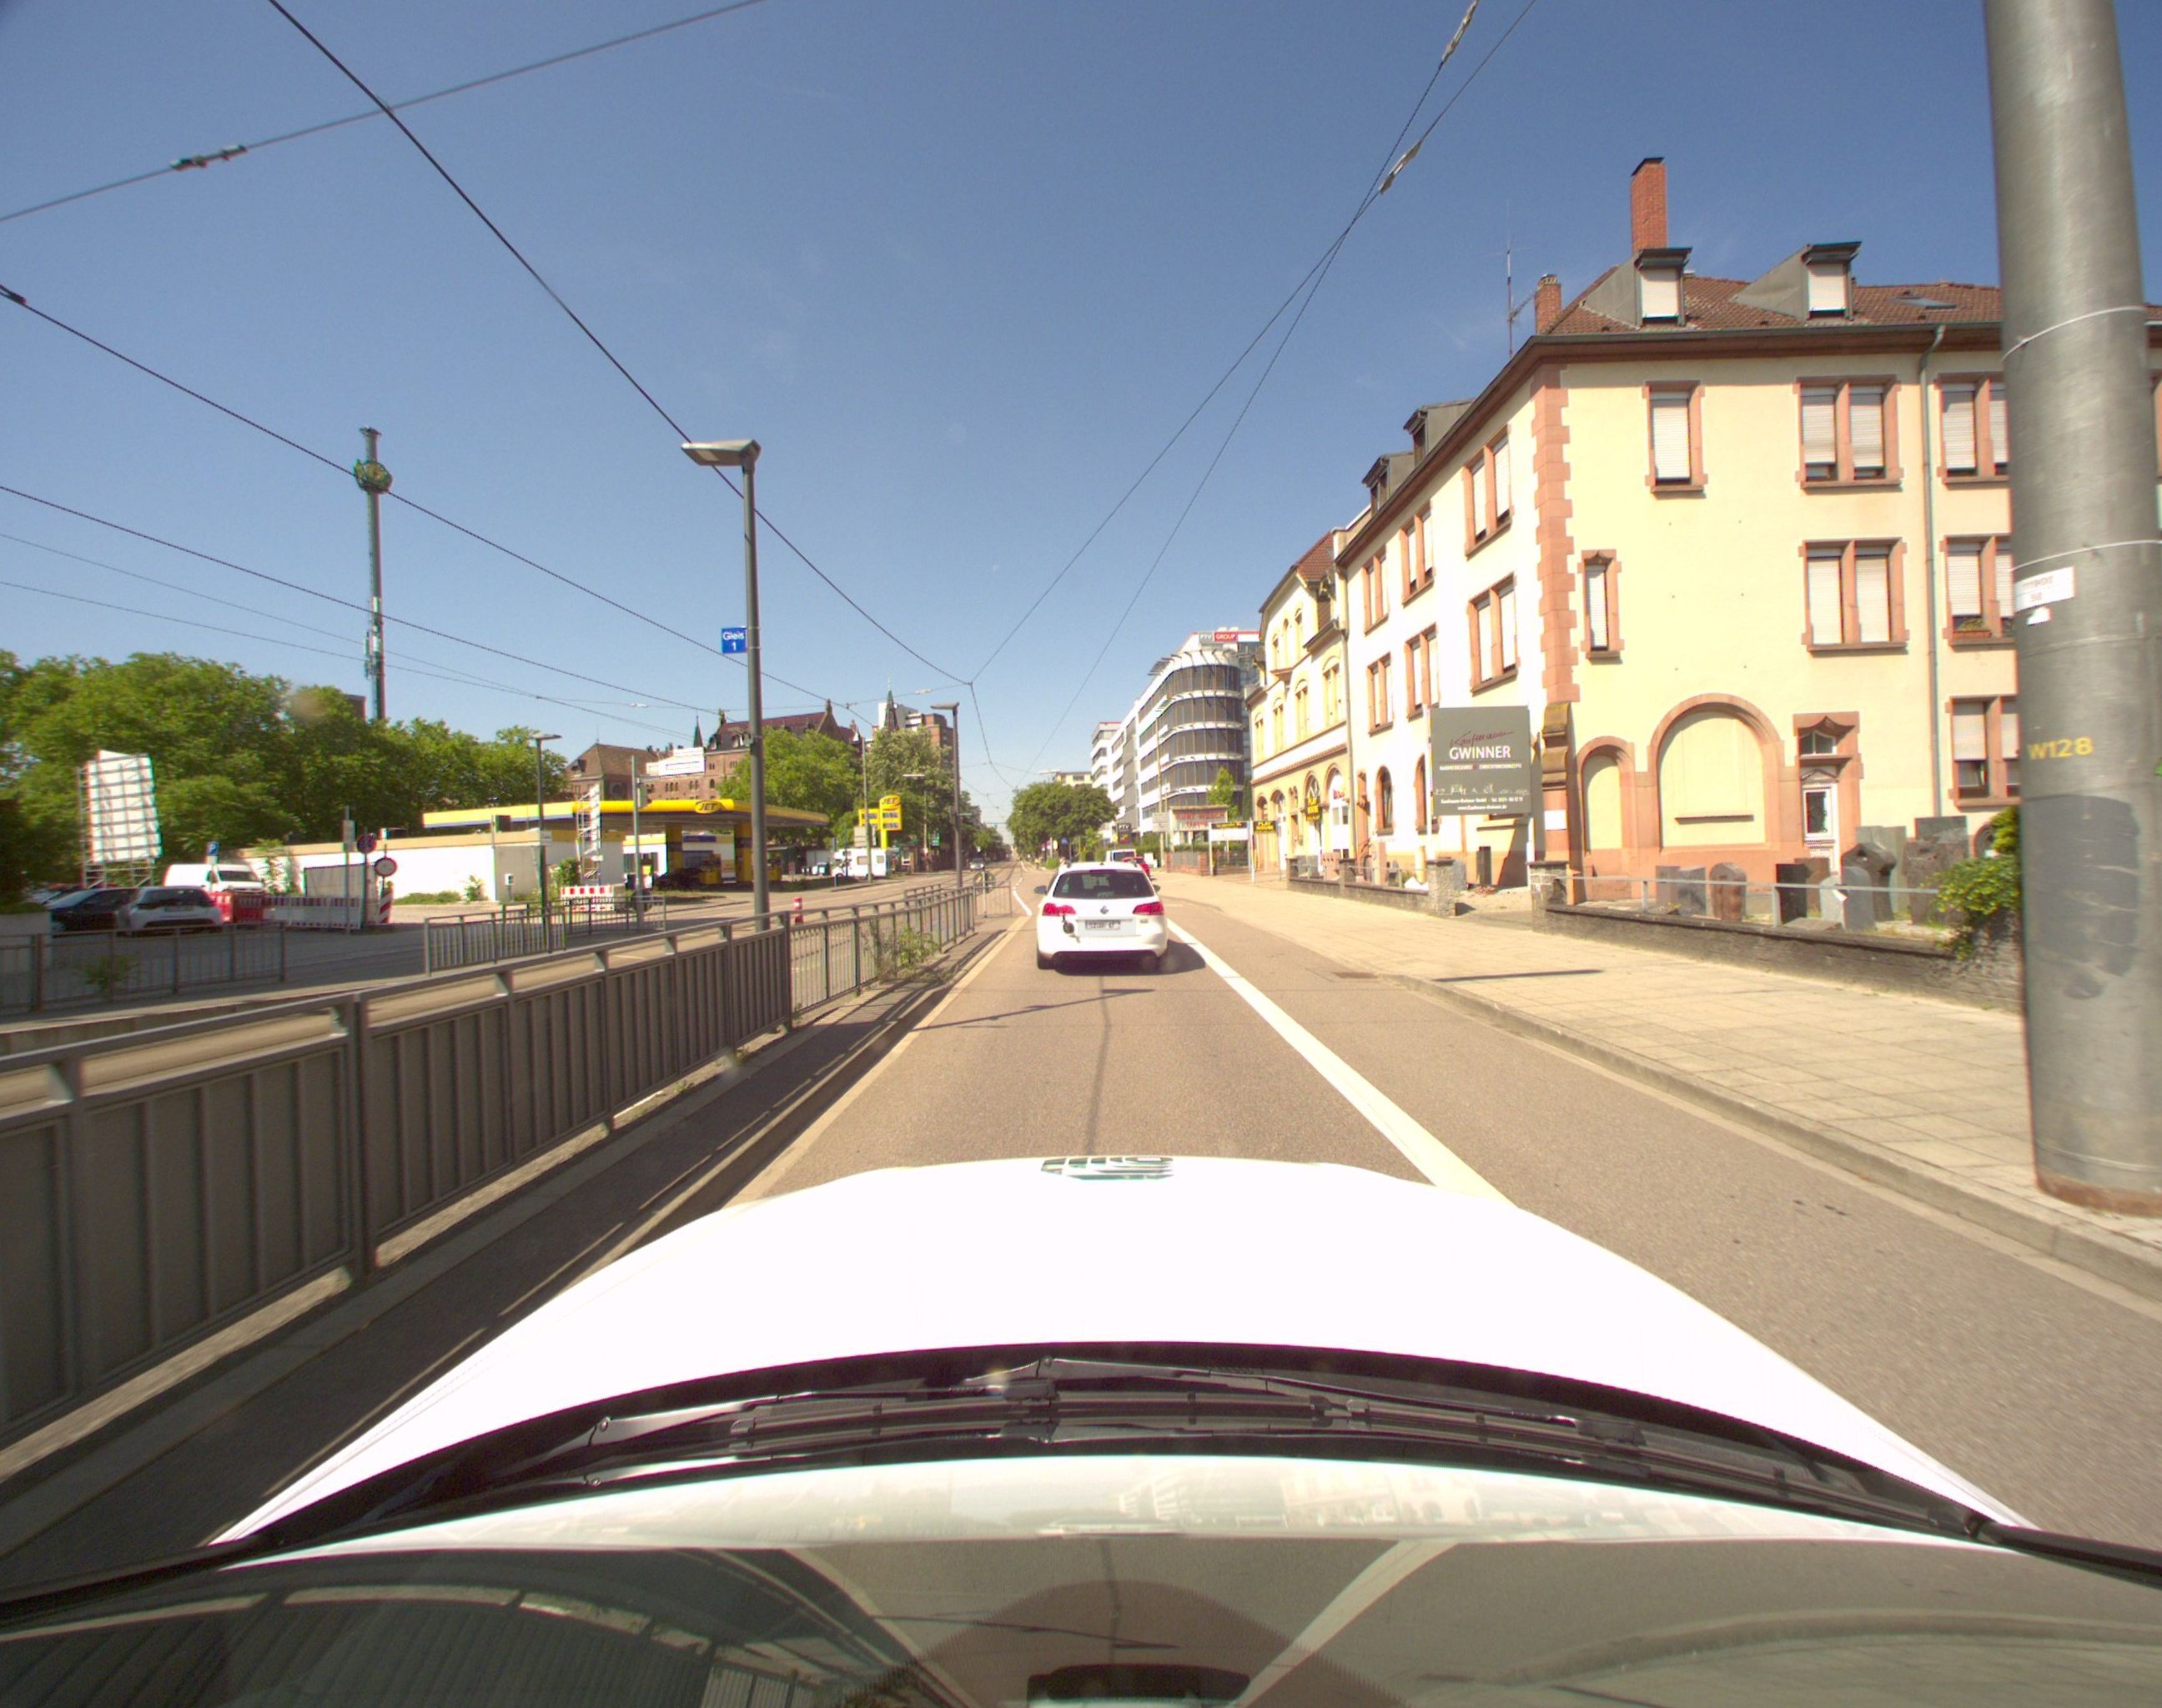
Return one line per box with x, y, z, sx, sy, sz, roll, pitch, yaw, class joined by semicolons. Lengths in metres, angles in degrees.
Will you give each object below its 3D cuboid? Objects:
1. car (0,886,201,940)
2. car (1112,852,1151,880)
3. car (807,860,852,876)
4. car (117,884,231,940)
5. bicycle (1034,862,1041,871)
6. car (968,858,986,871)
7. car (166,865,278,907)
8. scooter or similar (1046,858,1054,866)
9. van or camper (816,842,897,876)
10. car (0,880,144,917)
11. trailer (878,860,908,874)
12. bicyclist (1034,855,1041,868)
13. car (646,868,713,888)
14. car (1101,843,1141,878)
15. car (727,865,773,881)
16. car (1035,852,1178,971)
-30.728;1.792;25.353;1.848;1.366;4.074;-2;-1;17;car
2.940;0.692;48.365;1.718;1.443;4.306;-4;0;-4;car
-28.572;1.610;92.635;1.924;1.583;4.607;-2;0;40;car
-27.124;1.656;24.327;3.948;1.423;1.813;0;0;35;car
-5.461;1.516;101.774;0.809;1.078;2.009;-2;0;-4;bicycle
-13.316;1.342;104.491;1.740;1.571;3.892;-3;-1;1;car
-50.699;1.883;48.087;5.596;2.327;2.339;-2;-1;18;car
-4.563;1.197;120.375;1.138;1.154;0.493;-2;0;1;scooter or similar
-20.692;0.443;75.226;6.666;2.967;2.617;1;-1;1;van or camper
-46.068;1.978;36.945;1.813;1.430;4.261;0;0;14;car
-22.828;1.593;98.866;3.208;1.525;1.775;-2;0;-4;trailer
-5.456;0.925;101.977;0.784;1.629;0.737;2;-1;-4;bicyclist
-28.946;1.691;58.842;1.682;1.303;4.412;0;0;20;car
2.630;0.433;54.581;1.973;2.054;5.183;-4;0;-4;car
-33.951;1.960;83.488;4.122;1.527;1.947;-2;-1;21;car
0.220;0.704;12.307;1.749;1.442;4.408;-1;0;-3;car
